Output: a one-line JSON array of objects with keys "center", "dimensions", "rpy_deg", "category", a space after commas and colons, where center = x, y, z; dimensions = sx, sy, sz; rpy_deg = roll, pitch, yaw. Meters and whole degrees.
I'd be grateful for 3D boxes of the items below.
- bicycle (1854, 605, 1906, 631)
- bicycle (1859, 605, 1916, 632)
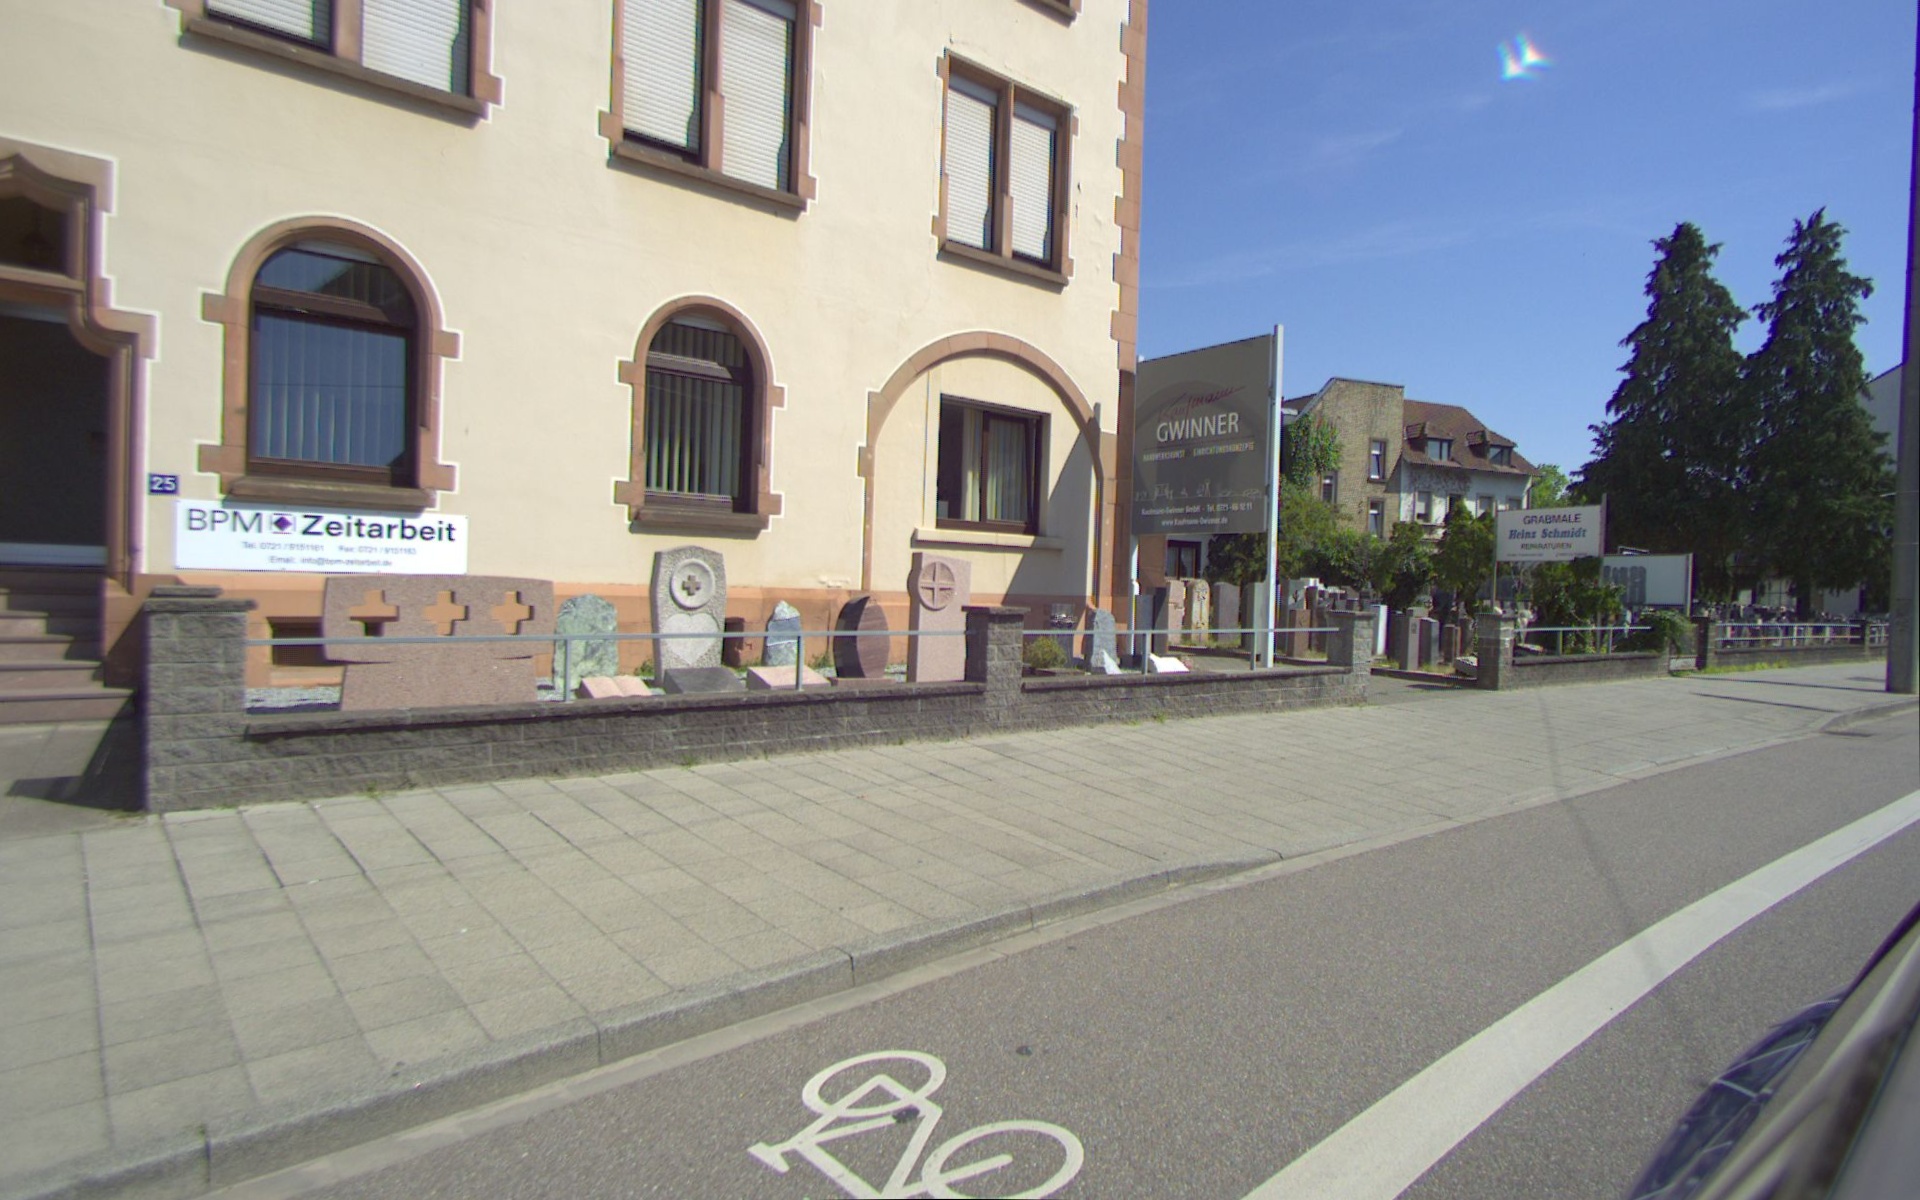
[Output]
[{"center": [42.794, 0.827, 47.097], "dimensions": [0.502, 1.124, 1.692], "rpy_deg": [2, 2, -32], "category": "bicycle"}, {"center": [42.211, 0.834, 46.100], "dimensions": [0.502, 1.124, 1.800], "rpy_deg": [2, 2, -29], "category": "bicycle"}]
